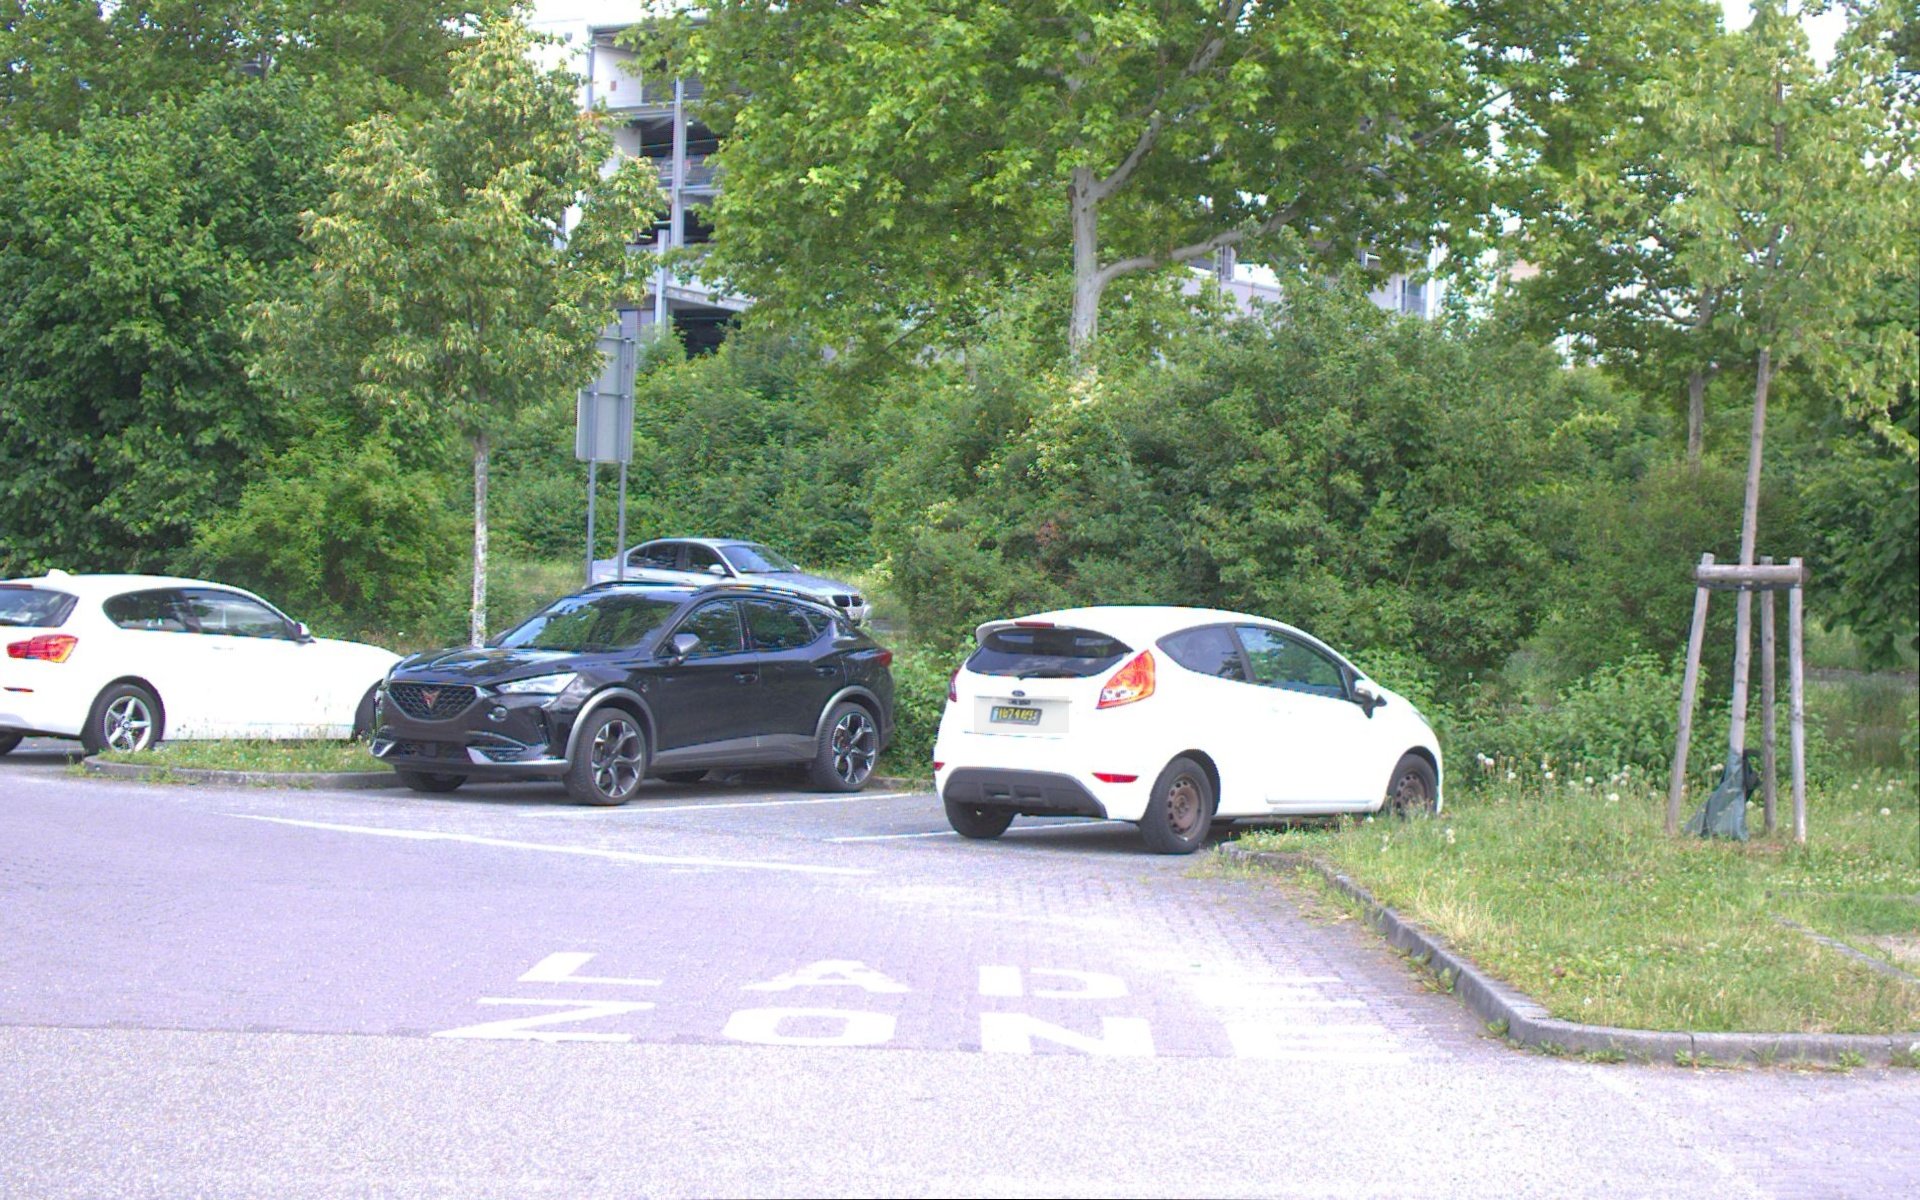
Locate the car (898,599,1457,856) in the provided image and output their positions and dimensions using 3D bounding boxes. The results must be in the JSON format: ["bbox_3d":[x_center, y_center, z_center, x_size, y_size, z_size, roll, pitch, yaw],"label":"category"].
[{"bbox_3d":[1.422,0.740,21.448,1.669,1.407,3.549,2,1,40],"label":"car"}]

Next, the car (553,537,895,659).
[{"bbox_3d":[-3.423,-0.044,49.426,4.736,1.584,1.745,2,1,32],"label":"car"}]

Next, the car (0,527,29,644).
[{"bbox_3d":[-18.757,-0.320,60.617,4.490,2.007,1.914,1,-2,33],"label":"car"}]

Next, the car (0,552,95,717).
[{"bbox_3d":[-10.020,0.274,29.910,1.837,1.446,4.715,2,1,36],"label":"car"}]

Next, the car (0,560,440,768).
[{"bbox_3d":[-6.184,0.468,27.048,1.688,1.504,4.072,1,0,38],"label":"car"}]

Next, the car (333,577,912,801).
[{"bbox_3d":[-2.308,0.588,24.559,1.731,1.405,4.234,2,1,35],"label":"car"}]
